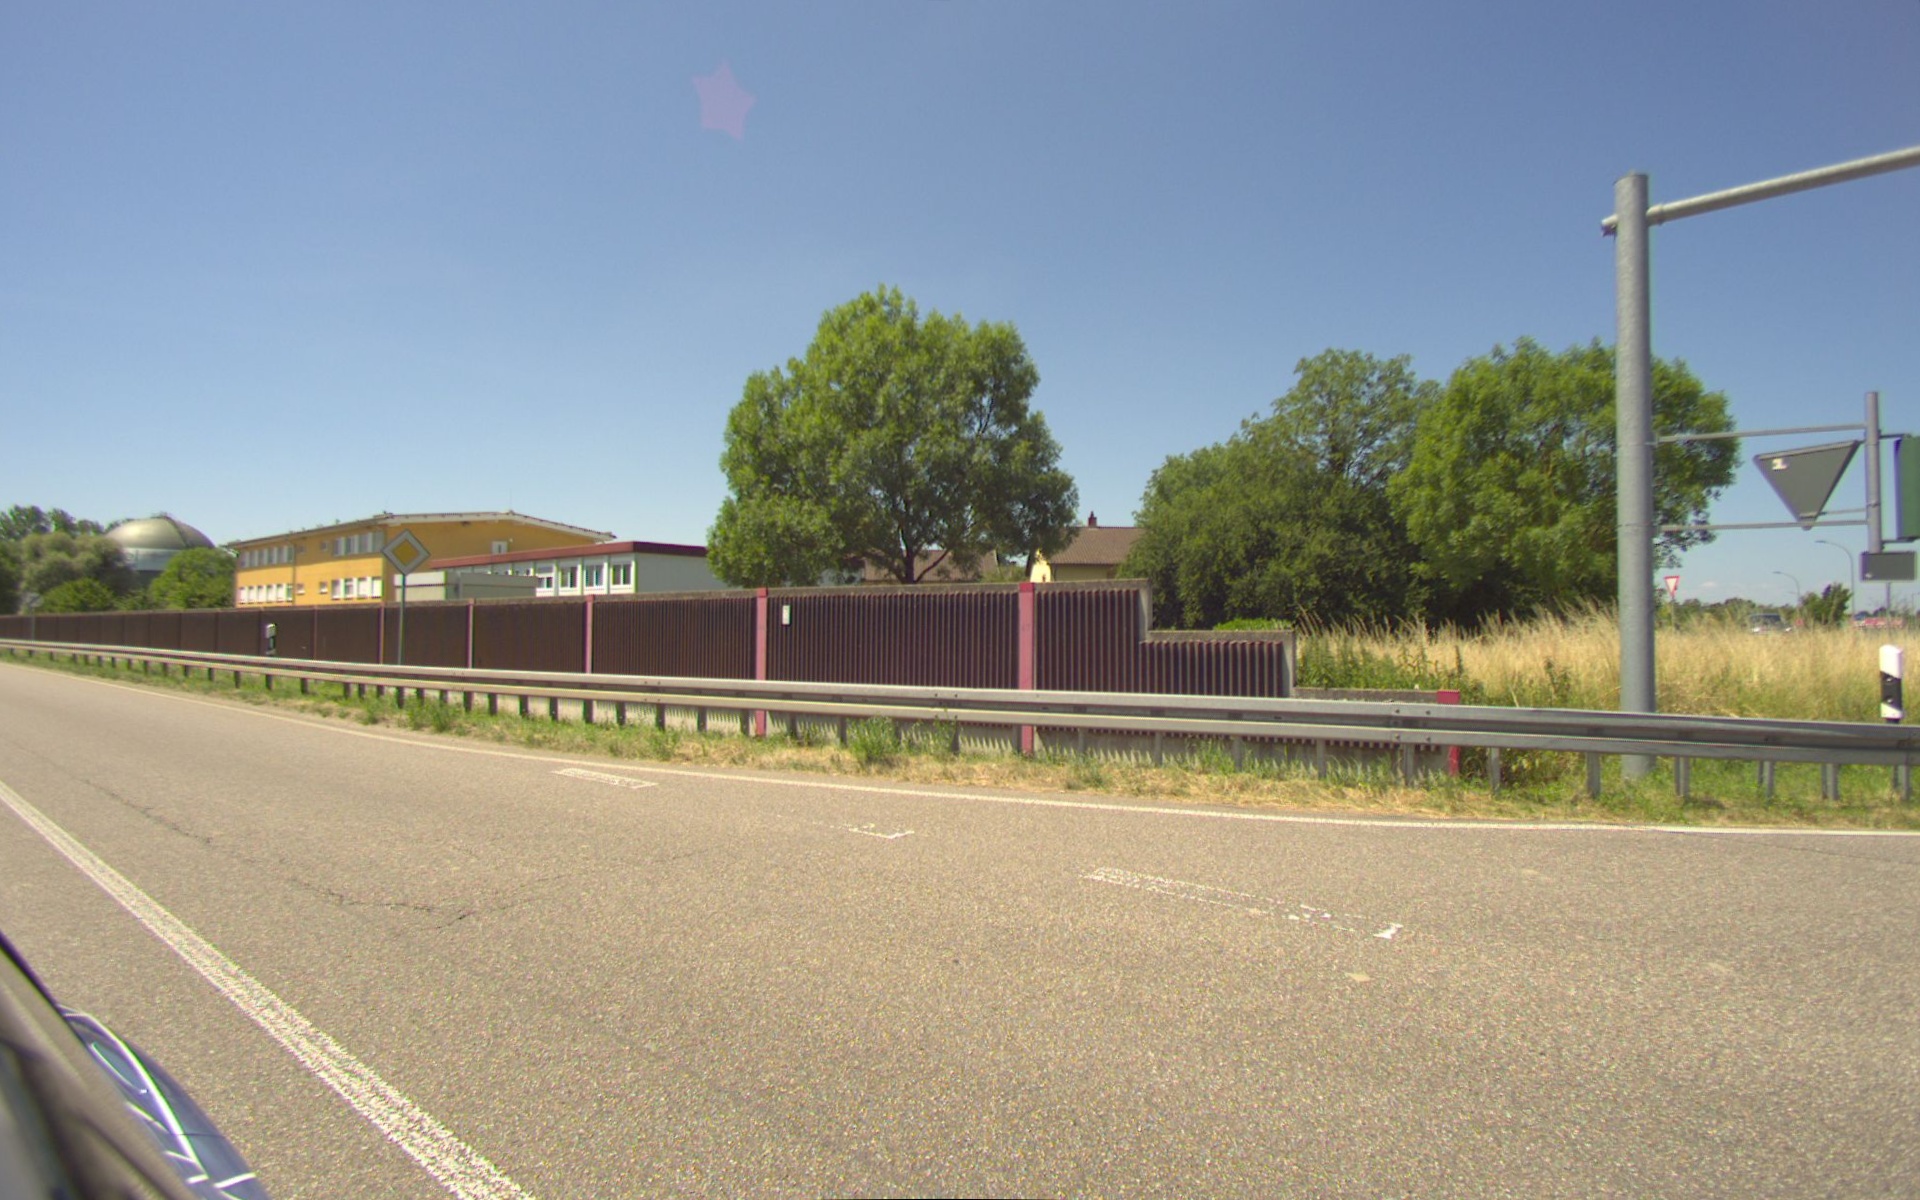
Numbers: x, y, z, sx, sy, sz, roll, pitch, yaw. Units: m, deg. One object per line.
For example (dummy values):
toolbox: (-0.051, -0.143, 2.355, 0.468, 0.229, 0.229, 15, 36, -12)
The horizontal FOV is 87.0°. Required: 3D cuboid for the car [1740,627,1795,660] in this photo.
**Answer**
car: (42.546, 2.270, 53.417, 1.765, 1.637, 4.187, -2, -2, 32)
